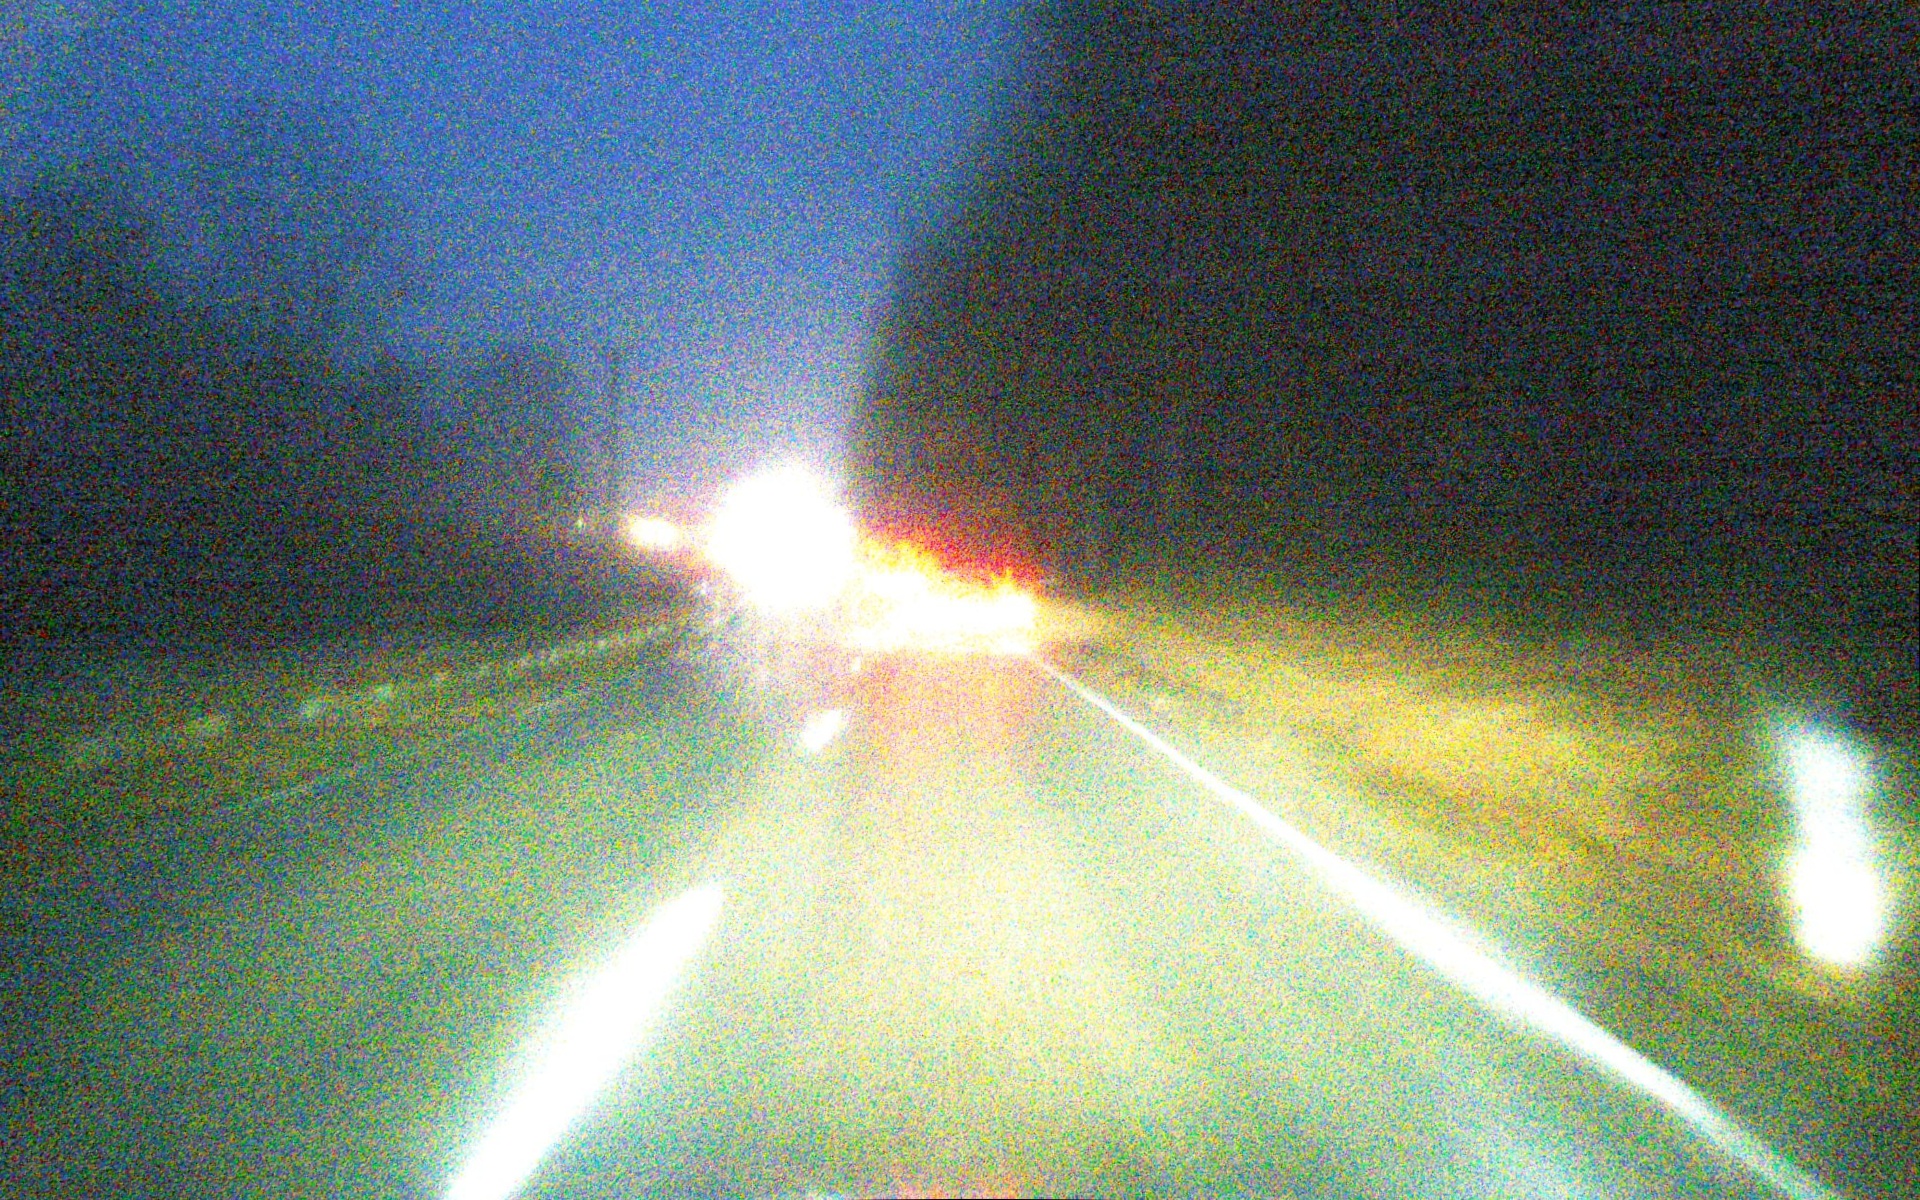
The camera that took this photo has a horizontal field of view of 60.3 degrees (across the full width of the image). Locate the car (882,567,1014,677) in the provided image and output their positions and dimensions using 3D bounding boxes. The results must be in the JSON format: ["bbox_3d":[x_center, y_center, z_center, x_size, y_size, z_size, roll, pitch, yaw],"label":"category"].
[{"bbox_3d":[-0.239,0.397,33.085,2.407,1.992,4.911,1,0,0],"label":"car"}]

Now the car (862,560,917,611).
[{"bbox_3d":[-3.072,-0.635,71.342,1.956,2.048,3.994,3,1,-8],"label":"car"}]
